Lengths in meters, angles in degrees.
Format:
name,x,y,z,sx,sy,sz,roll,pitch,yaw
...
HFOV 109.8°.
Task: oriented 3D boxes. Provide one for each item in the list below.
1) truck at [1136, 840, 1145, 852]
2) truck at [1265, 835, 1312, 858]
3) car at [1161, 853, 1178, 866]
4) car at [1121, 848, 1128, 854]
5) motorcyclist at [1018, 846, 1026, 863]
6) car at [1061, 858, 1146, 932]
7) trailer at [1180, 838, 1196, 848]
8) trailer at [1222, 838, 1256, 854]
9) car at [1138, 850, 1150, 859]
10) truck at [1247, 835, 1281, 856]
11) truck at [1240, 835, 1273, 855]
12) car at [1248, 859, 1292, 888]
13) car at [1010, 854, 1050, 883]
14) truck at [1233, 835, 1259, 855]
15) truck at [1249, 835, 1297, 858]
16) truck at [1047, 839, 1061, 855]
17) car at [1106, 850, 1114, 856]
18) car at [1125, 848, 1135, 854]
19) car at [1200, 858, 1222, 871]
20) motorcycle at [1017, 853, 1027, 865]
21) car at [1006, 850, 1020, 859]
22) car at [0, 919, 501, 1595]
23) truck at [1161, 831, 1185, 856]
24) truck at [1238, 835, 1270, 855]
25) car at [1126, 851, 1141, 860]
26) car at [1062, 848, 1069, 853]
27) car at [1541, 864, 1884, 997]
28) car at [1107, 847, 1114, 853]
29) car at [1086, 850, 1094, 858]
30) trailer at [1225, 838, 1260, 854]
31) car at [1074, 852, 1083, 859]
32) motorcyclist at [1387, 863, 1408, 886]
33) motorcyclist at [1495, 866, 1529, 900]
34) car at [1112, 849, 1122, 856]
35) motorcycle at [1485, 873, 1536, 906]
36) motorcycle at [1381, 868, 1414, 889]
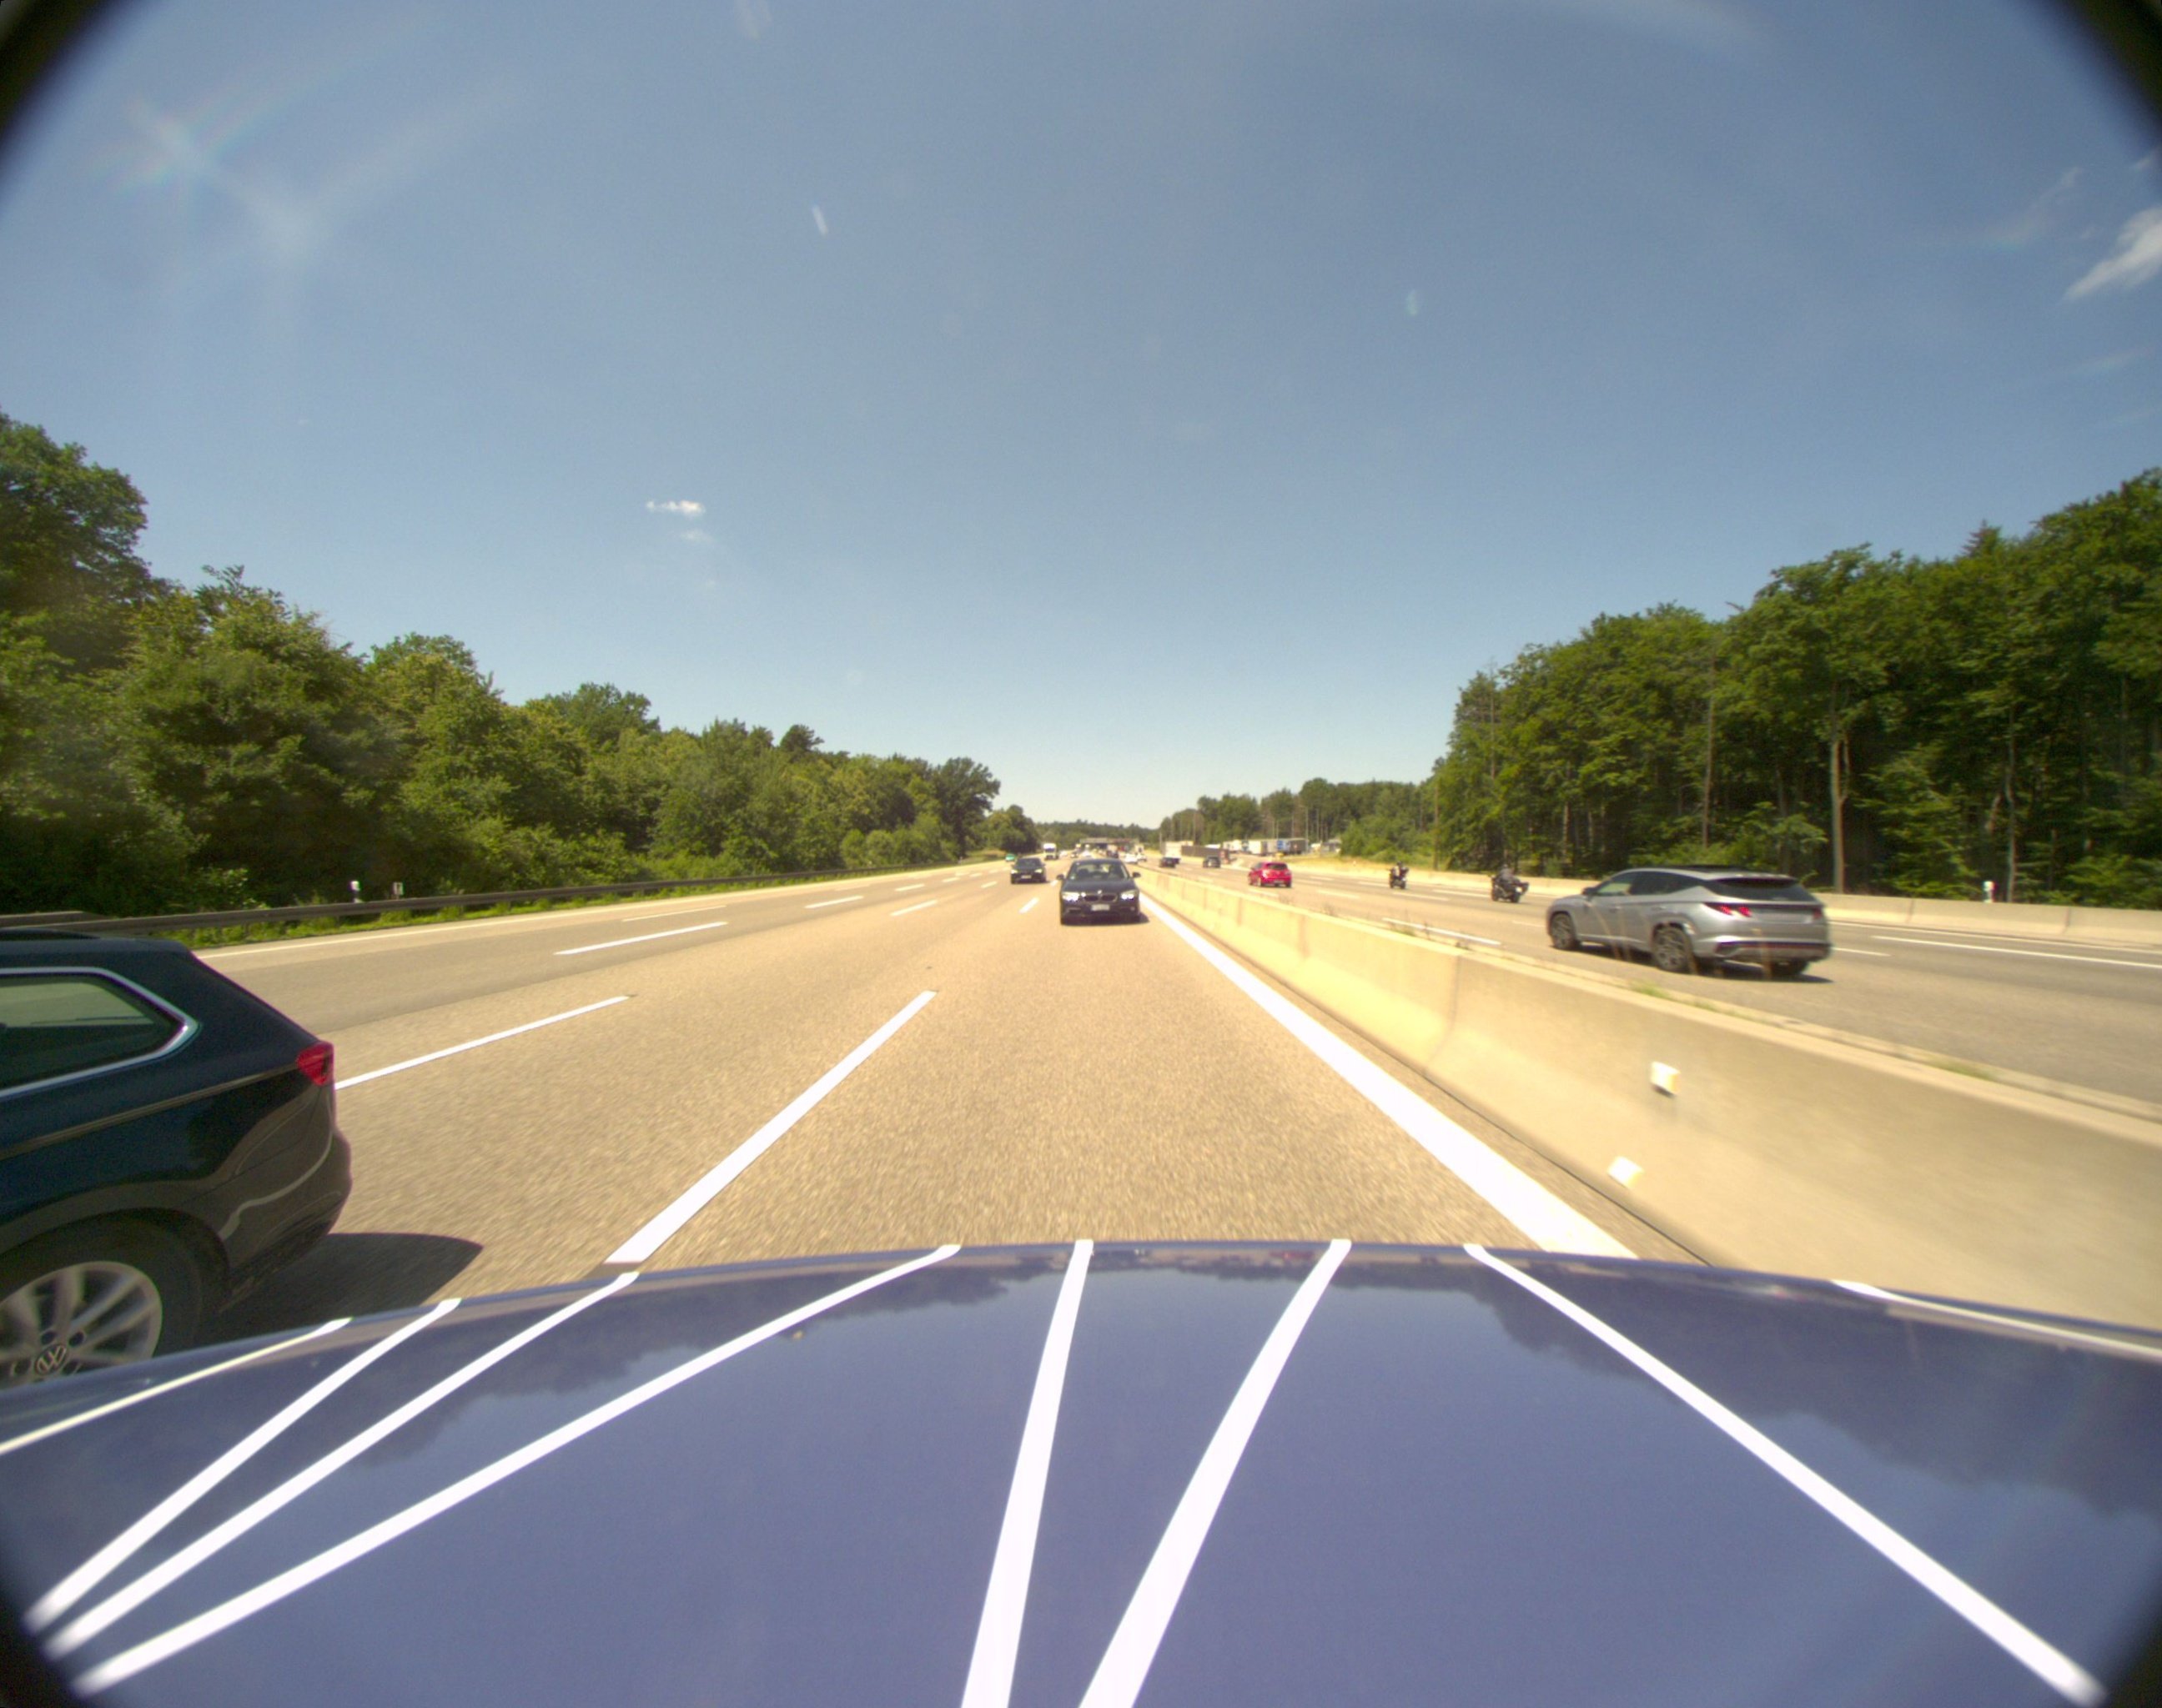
name,x,y,z,sx,sy,sz,roll,pitch,yaw
truck,21.062,-2.856,269.129,2.842,4.173,10.595,0,1,1
truck,52.089,-1.891,189.948,16.746,5.580,3.214,-1,1,-44
car,10.976,0.670,94.430,1.706,1.419,4.613,1,0,1
car,12.240,-0.875,214.690,1.765,1.455,4.839,0,1,0
motorcyclist,-6.882,0.023,88.889,0.914,1.926,0.905,0,1,0
car,0.534,0.870,18.144,1.741,1.450,4.542,-1,0,1
trailer,34.198,-3.492,243.130,2.979,3.106,14.607,0,1,1
trailer,51.767,-2.692,248.603,14.597,5.043,3.120,-1,1,-45
car,12.265,0.056,147.333,1.917,1.651,4.688,1,0,0
truck,50.130,-2.420,207.821,11.562,5.580,3.358,-1,1,-45
truck,48.863,-2.484,211.296,11.562,5.580,3.219,-1,1,-45
car,10.742,1.084,43.380,1.576,1.503,4.030,1,0,2
car,-2.783,0.792,42.266,1.834,1.454,4.203,1,1,1
truck,47.895,-2.612,220.167,8.506,5.580,3.219,-1,1,-45
truck,48.663,-1.956,191.632,16.746,5.580,3.440,-1,1,-44
truck,-5.472,-1.417,154.086,2.428,3.237,8.688,1,1,0
car,7.889,-0.193,206.392,1.917,1.456,4.586,0,1,0
car,11.666,-0.758,180.632,1.917,1.503,5.231,1,0,0
car,17.118,1.336,100.466,2.052,1.665,5.188,1,0,1
motorcycle,-6.924,0.556,88.911,0.925,1.311,2.997,0,1,1
car,-12.749,0.139,142.396,1.998,1.671,4.127,1,1,2
car,-3.415,1.021,0.776,1.734,1.439,4.961,-1,0,1
truck,15.295,-1.697,126.934,2.865,3.990,9.467,0,1,1
truck,49.353,-2.555,216.799,11.562,5.580,3.219,-1,1,-45
car,7.960,0.240,114.781,1.829,1.386,4.464,0,0,-1
car,-4.662,-1.042,231.332,1.874,1.560,4.127,0,0,1
car,9.963,1.071,12.606,1.976,1.714,4.508,0,0,1
car,9.447,-1.277,244.544,1.903,1.942,5.656,1,1,0
car,2.297,0.032,193.861,1.998,1.935,4.128,0,0,2
trailer,50.502,-2.550,237.372,14.597,5.043,3.214,-1,1,-45
car,-0.594,0.296,183.223,1.998,1.671,4.127,1,1,2
motorcyclist,18.357,1.163,44.117,0.771,1.294,1.077,1,1,1
motorcyclist,17.645,1.174,31.155,0.762,1.294,1.077,1,2,1
car,8.134,-0.349,171.716,1.917,1.456,4.362,0,1,0
motorcycle,17.642,1.439,31.271,0.740,1.207,2.349,1,1,1
motorcycle,18.328,1.411,44.117,0.779,1.135,2.756,1,0,1
